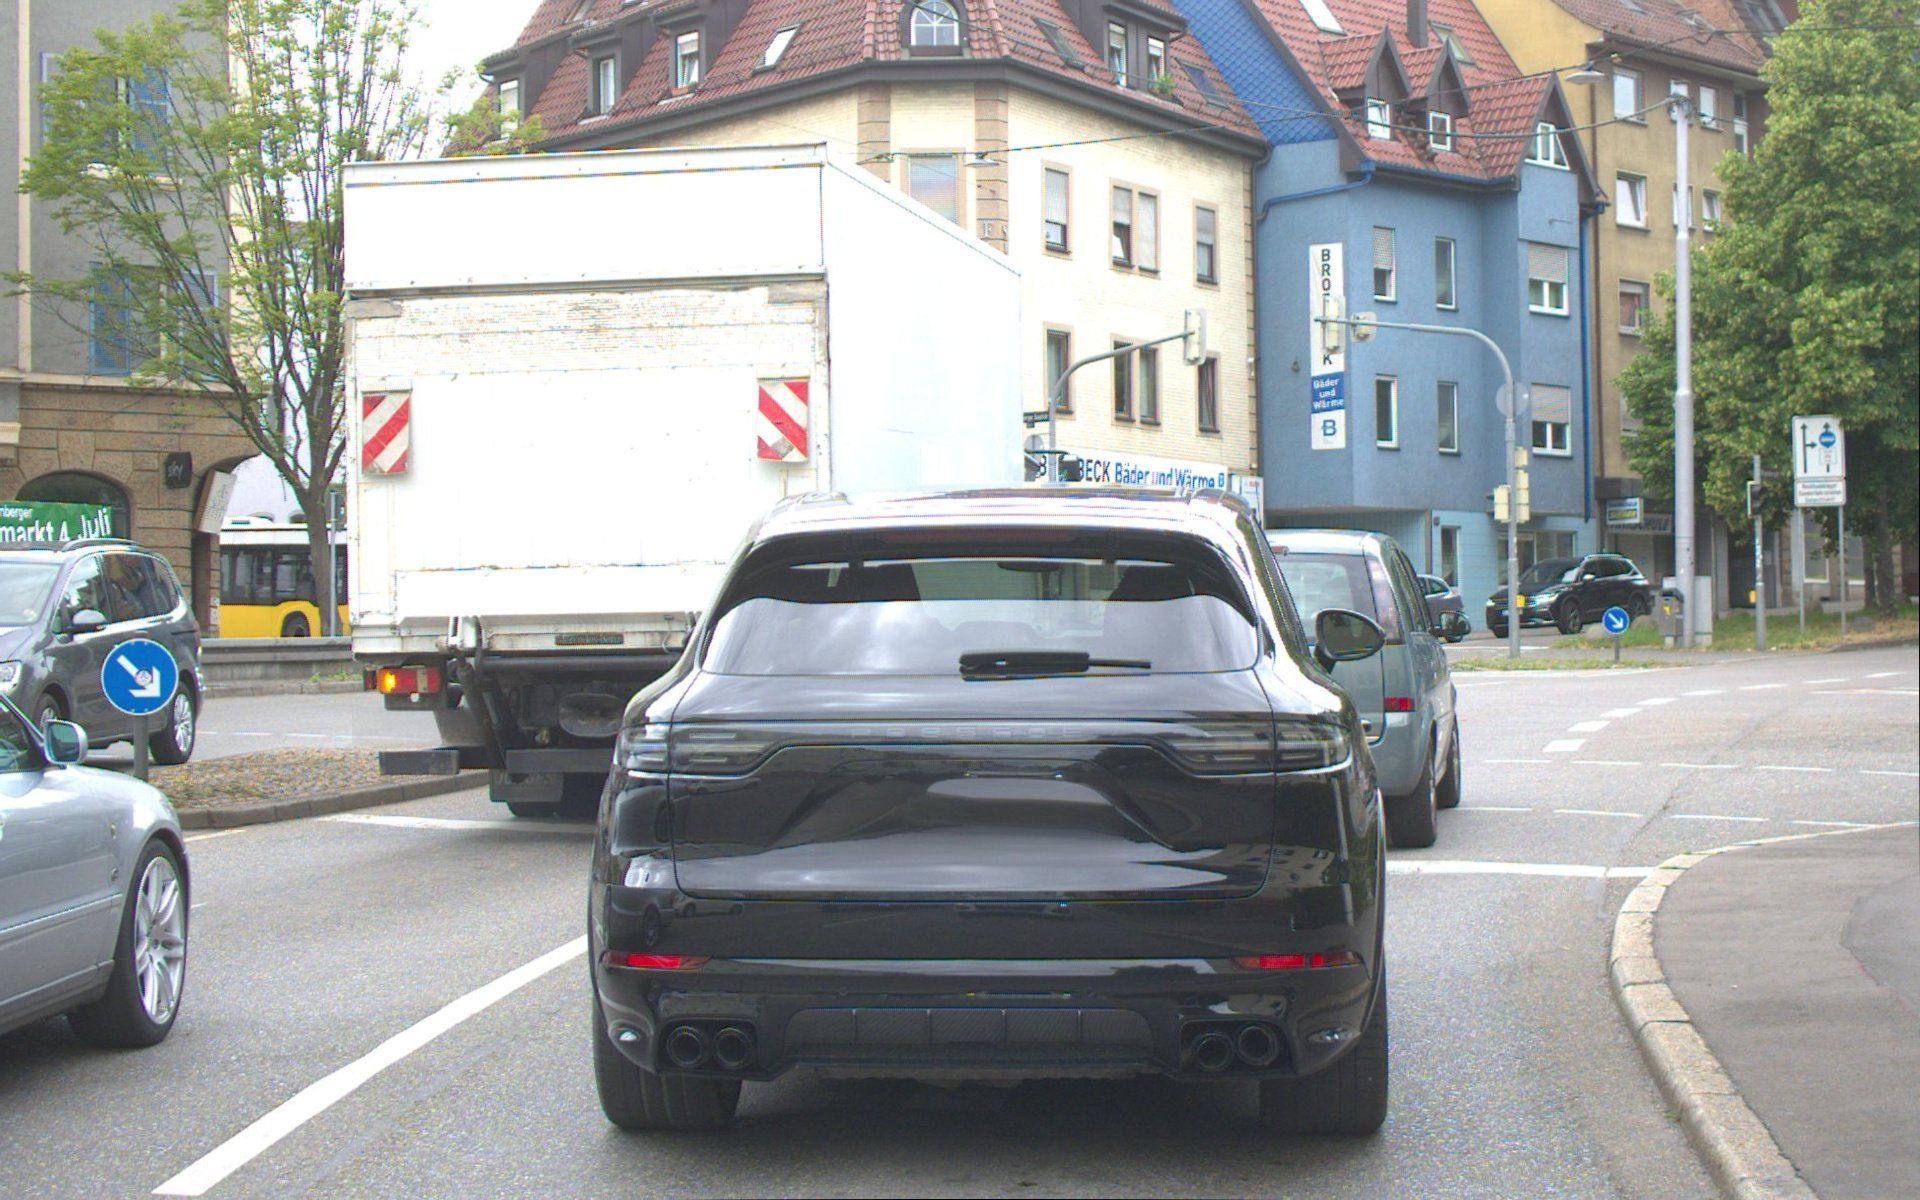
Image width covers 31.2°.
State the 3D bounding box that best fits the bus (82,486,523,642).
[{"bbox_3d":[-14.248,-0.747,73.421,3.159,3.085,12.144,0,0,-44],"label":"bus"}]

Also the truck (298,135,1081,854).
[{"bbox_3d":[-1.233,-0.591,21.273,2.726,3.532,8.418,1,1,10],"label":"truck"}]

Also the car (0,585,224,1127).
[{"bbox_3d":[-3.284,0.681,8.664,1.629,1.360,4.127,-1,1,5],"label":"car"}]

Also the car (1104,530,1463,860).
[{"bbox_3d":[1.800,0.442,18.214,1.649,1.550,3.581,1,0,9],"label":"car"}]

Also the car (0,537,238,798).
[{"bbox_3d":[-6.897,0.416,24.920,1.904,1.708,4.718,0,1,6],"label":"car"}]

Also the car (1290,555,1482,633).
[{"bbox_3d":[8.535,-0.123,68.641,1.720,1.471,4.208,-2,-1,41],"label":"car"}]

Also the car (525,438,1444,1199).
[{"bbox_3d":[0.007,0.460,9.915,2.031,1.717,4.500,1,1,-1],"label":"car"}]

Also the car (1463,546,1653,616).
[{"bbox_3d":[12.905,-0.384,73.980,1.874,1.411,4.687,-1,-1,41],"label":"car"}]
